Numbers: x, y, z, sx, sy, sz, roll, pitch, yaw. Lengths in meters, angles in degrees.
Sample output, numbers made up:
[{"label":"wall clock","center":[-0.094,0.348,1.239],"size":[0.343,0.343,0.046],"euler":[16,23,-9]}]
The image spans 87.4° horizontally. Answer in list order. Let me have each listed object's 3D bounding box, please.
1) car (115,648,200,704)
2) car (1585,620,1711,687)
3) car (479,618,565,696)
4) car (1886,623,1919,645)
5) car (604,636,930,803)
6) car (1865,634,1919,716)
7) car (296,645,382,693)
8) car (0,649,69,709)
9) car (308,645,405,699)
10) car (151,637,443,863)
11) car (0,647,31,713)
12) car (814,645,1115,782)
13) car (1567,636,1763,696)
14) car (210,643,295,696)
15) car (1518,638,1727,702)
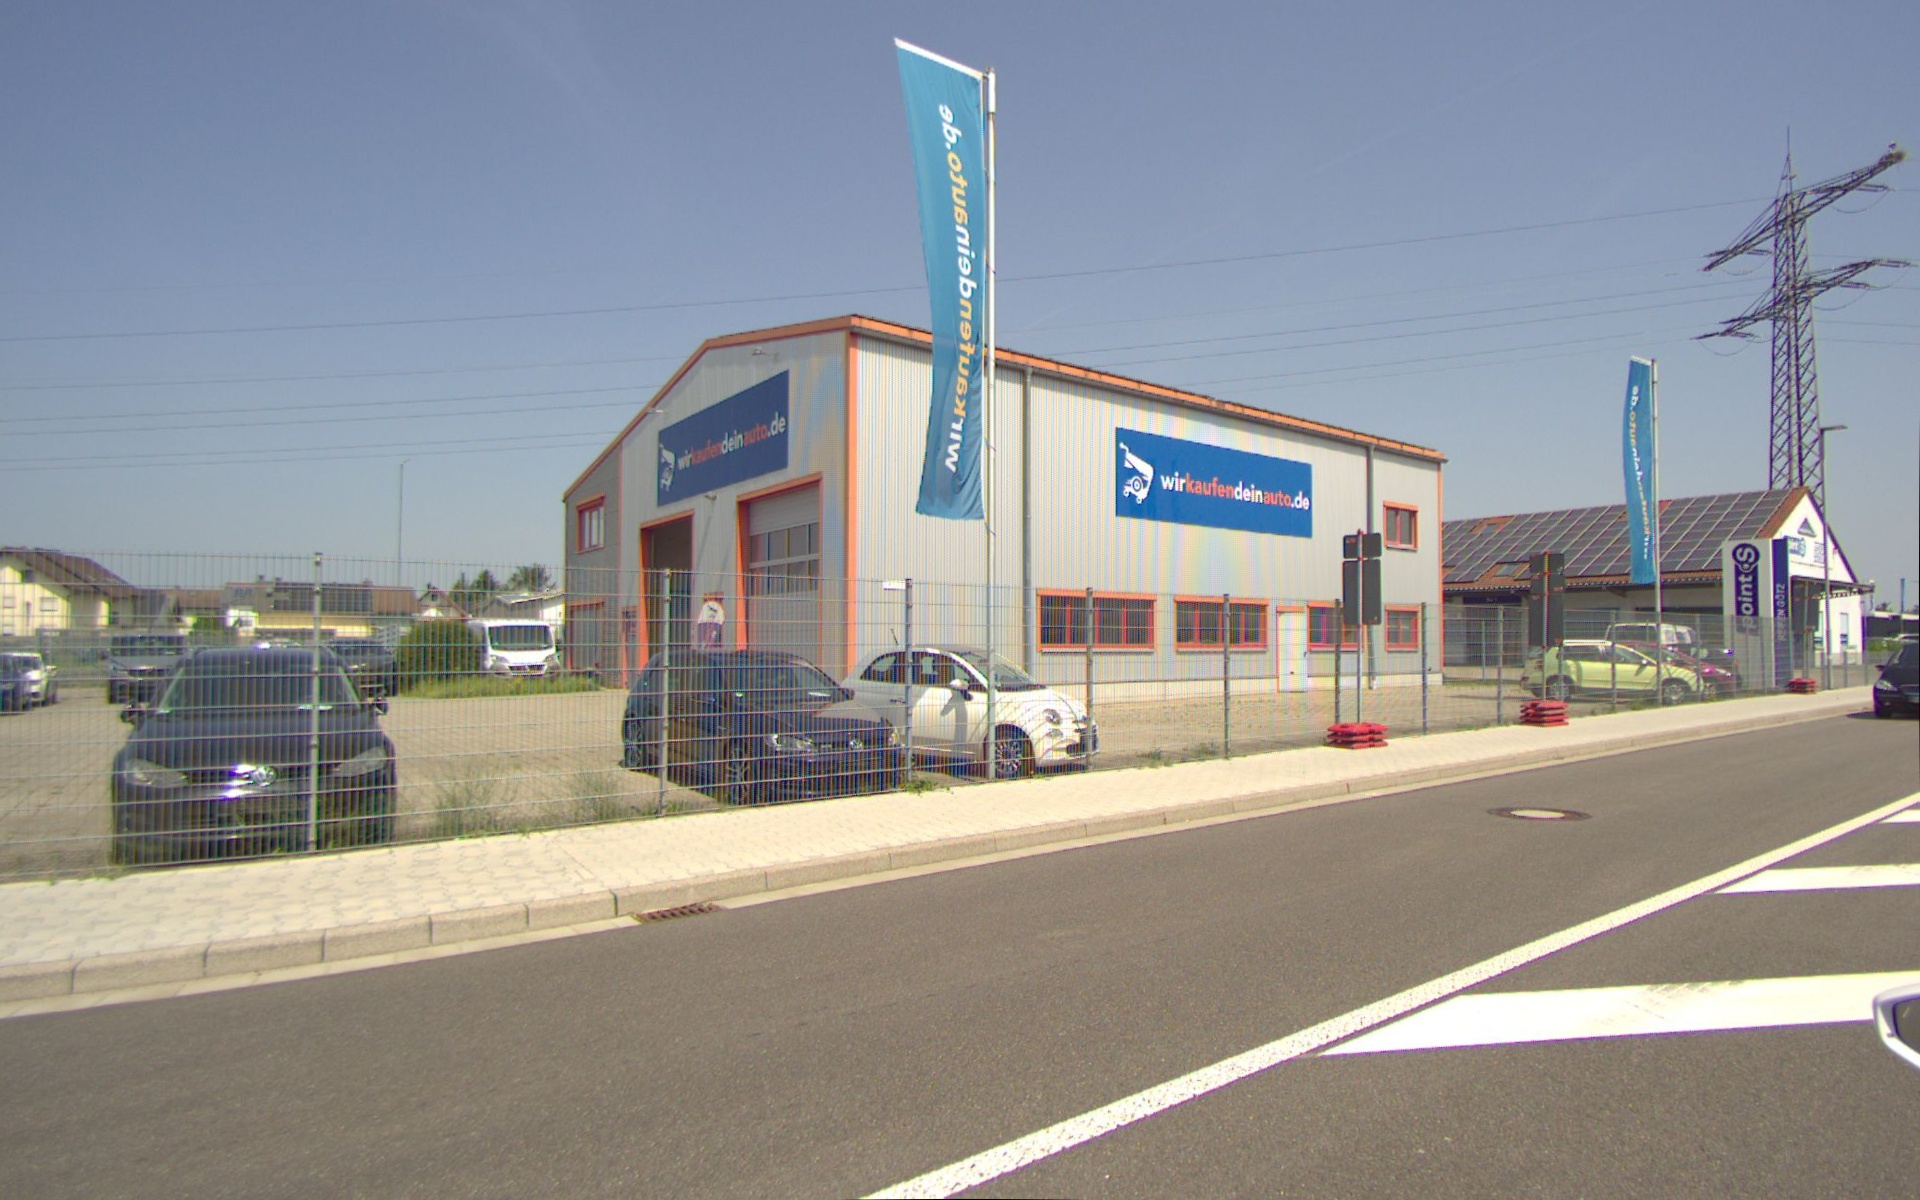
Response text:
[{"label":"car","center":[-23.724,2.196,29.664],"size":[1.762,1.522,3.952],"euler":[1,-3,-42]},{"label":"car","center":[22.778,1.776,33.208],"size":[4.635,2.040,1.980],"euler":[2,-4,-36]},{"label":"car","center":[-13.500,1.727,30.831],"size":[1.976,2.224,4.290],"euler":[1,-3,-29]},{"label":"car","center":[67.138,2.412,69.534],"size":[1.748,1.475,4.191],"euler":[1,0,-38]},{"label":"car","center":[-2.300,1.197,11.275],"size":[1.763,1.522,3.949],"euler":[2,-3,-43]},{"label":"car","center":[20.517,1.519,20.929],"size":[3.761,1.614,1.730],"euler":[2,-5,-37]},{"label":"car","center":[-20.187,2.207,32.593],"size":[1.882,1.439,4.153],"euler":[1,-3,-39]},{"label":"car","center":[-26.029,2.157,27.843],"size":[1.760,1.522,3.957],"euler":[1,-3,-38]},{"label":"car","center":[-17.417,2.030,28.922],"size":[1.858,1.439,4.032],"euler":[1,-3,-39]},{"label":"car","center":[-6.027,1.124,8.930],"size":[1.760,1.522,3.955],"euler":[1,-3,-39]},{"label":"car","center":[-23.672,1.920,24.225],"size":[1.762,1.522,3.765],"euler":[1,-3,-42]},{"label":"car","center":[0.038,1.308,12.534],"size":[3.424,1.484,1.588],"euler":[-1,-2,28]},{"label":"car","center":[18.655,1.721,26.795],"size":[3.922,1.513,1.744],"euler":[-1,-2,21]},{"label":"car","center":[-22.267,2.151,31.557],"size":[1.762,1.522,3.952],"euler":[1,-3,-42]},{"label":"car","center":[16.424,1.704,25.138],"size":[4.012,1.513,1.744],"euler":[-1,-2,18]}]
